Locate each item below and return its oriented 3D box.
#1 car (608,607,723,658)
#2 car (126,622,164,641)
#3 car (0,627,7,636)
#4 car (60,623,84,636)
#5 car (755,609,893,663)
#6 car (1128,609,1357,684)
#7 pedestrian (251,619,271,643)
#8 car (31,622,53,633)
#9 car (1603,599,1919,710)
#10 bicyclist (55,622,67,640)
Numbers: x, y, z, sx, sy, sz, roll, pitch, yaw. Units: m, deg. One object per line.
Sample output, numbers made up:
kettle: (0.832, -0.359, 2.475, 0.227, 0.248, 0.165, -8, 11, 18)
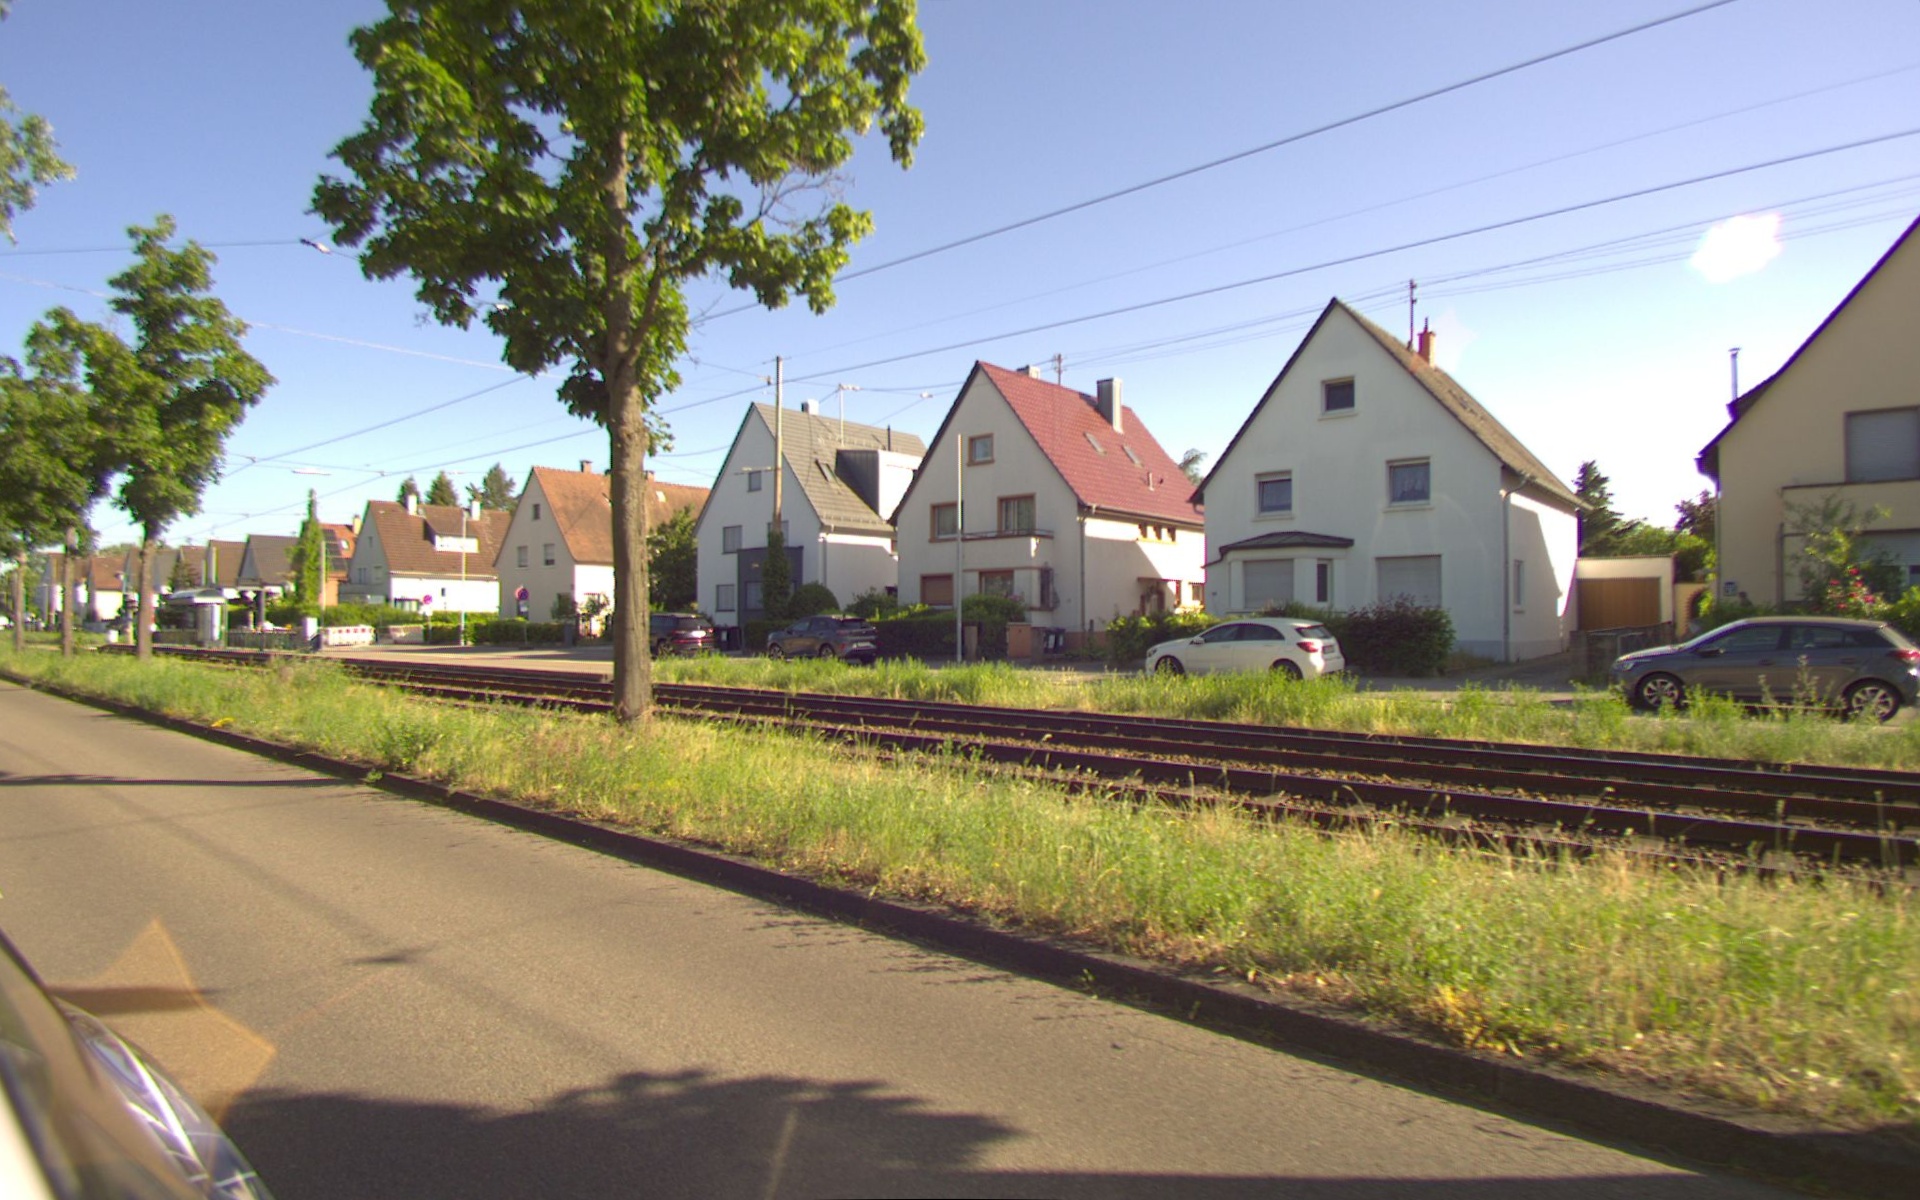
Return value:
car: (-10.834, 1.137, 37.061, 4.388, 1.726, 1.973, -1, 0, 41)
car: (-77.656, 2.972, 96.401, 4.837, 1.691, 1.973, -1, 0, 41)
car: (-158.771, 5.235, 167.131, 4.001, 1.517, 1.767, -1, 0, 44)
car: (-107.267, 3.532, 122.237, 3.754, 1.501, 1.716, -1, 0, 41)
car: (-4.267, 1.073, 31.395, 4.254, 1.506, 1.906, -1, 0, 41)
car: (6.065, 0.942, 22.048, 4.410, 1.437, 1.972, -1, 0, 43)
pedestrian: (-46.629, 2.051, 67.495, 0.789, 1.546, 0.807, -3, -3, 24)
car: (-120.318, 3.612, 132.607, 3.822, 1.392, 1.733, -1, 0, 41)
car: (12.730, 0.777, 15.952, 4.126, 1.460, 1.973, -1, 2, 41)
bicyclist: (-100.582, 3.445, 113.207, 1.071, 1.901, 0.843, -1, 0, 41)
